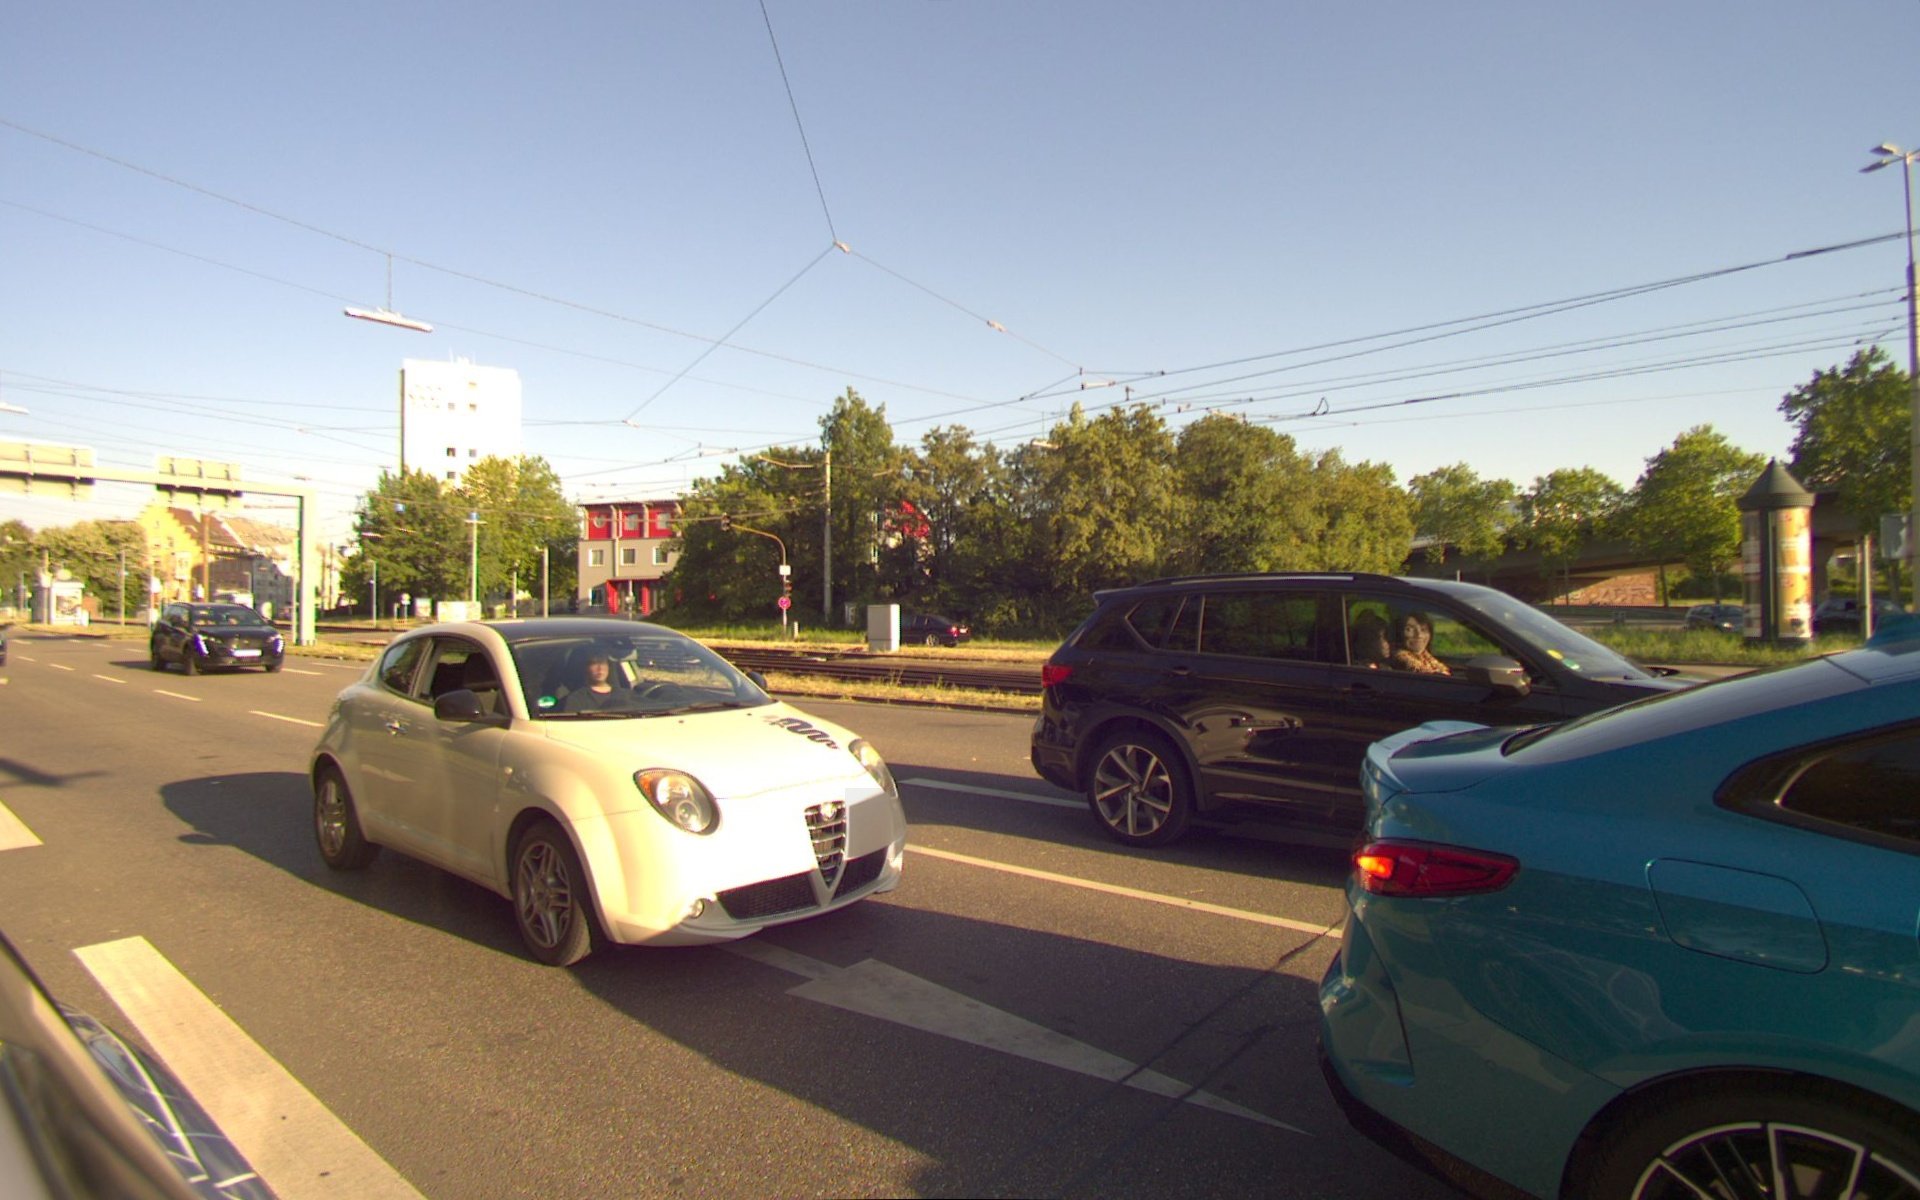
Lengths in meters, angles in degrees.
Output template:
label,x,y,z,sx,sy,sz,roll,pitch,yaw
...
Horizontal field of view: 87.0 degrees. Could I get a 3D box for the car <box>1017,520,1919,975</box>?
label,x,y,z,sx,sy,sz,roll,pitch,yaw
car,2.696,0.600,5.737,4.621,1.692,1.795,-2,-2,41

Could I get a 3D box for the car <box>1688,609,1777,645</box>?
label,x,y,z,sx,sy,sz,roll,pitch,yaw
car,34.822,1.193,45.753,1.706,1.537,3.919,-1,-1,13

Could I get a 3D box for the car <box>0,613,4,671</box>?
label,x,y,z,sx,sy,sz,roll,pitch,yaw
car,-25.978,1.082,25.933,3.997,1.448,1.719,-1,-1,40

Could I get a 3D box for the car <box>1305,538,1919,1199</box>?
label,x,y,z,sx,sy,sz,roll,pitch,yaw
car,2.886,0.638,1.461,4.201,1.477,1.697,-1,-2,38

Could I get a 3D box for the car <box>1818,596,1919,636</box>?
label,x,y,z,sx,sy,sz,roll,pitch,yaw
car,37.603,0.636,41.810,1.609,1.537,4.389,-1,-1,17

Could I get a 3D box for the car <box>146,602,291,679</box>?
label,x,y,z,sx,sy,sz,roll,pitch,yaw
car,-17.761,0.941,24.181,4.274,1.675,1.881,-2,-2,41

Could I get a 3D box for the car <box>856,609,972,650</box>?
label,x,y,z,sx,sy,sz,roll,pitch,yaw
car,-2.011,1.262,43.802,4.723,1.691,1.741,-1,-1,22

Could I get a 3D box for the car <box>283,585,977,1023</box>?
label,x,y,z,sx,sy,sz,roll,pitch,yaw
car,-1.995,0.760,5.478,3.997,1.517,1.719,-1,-2,40
